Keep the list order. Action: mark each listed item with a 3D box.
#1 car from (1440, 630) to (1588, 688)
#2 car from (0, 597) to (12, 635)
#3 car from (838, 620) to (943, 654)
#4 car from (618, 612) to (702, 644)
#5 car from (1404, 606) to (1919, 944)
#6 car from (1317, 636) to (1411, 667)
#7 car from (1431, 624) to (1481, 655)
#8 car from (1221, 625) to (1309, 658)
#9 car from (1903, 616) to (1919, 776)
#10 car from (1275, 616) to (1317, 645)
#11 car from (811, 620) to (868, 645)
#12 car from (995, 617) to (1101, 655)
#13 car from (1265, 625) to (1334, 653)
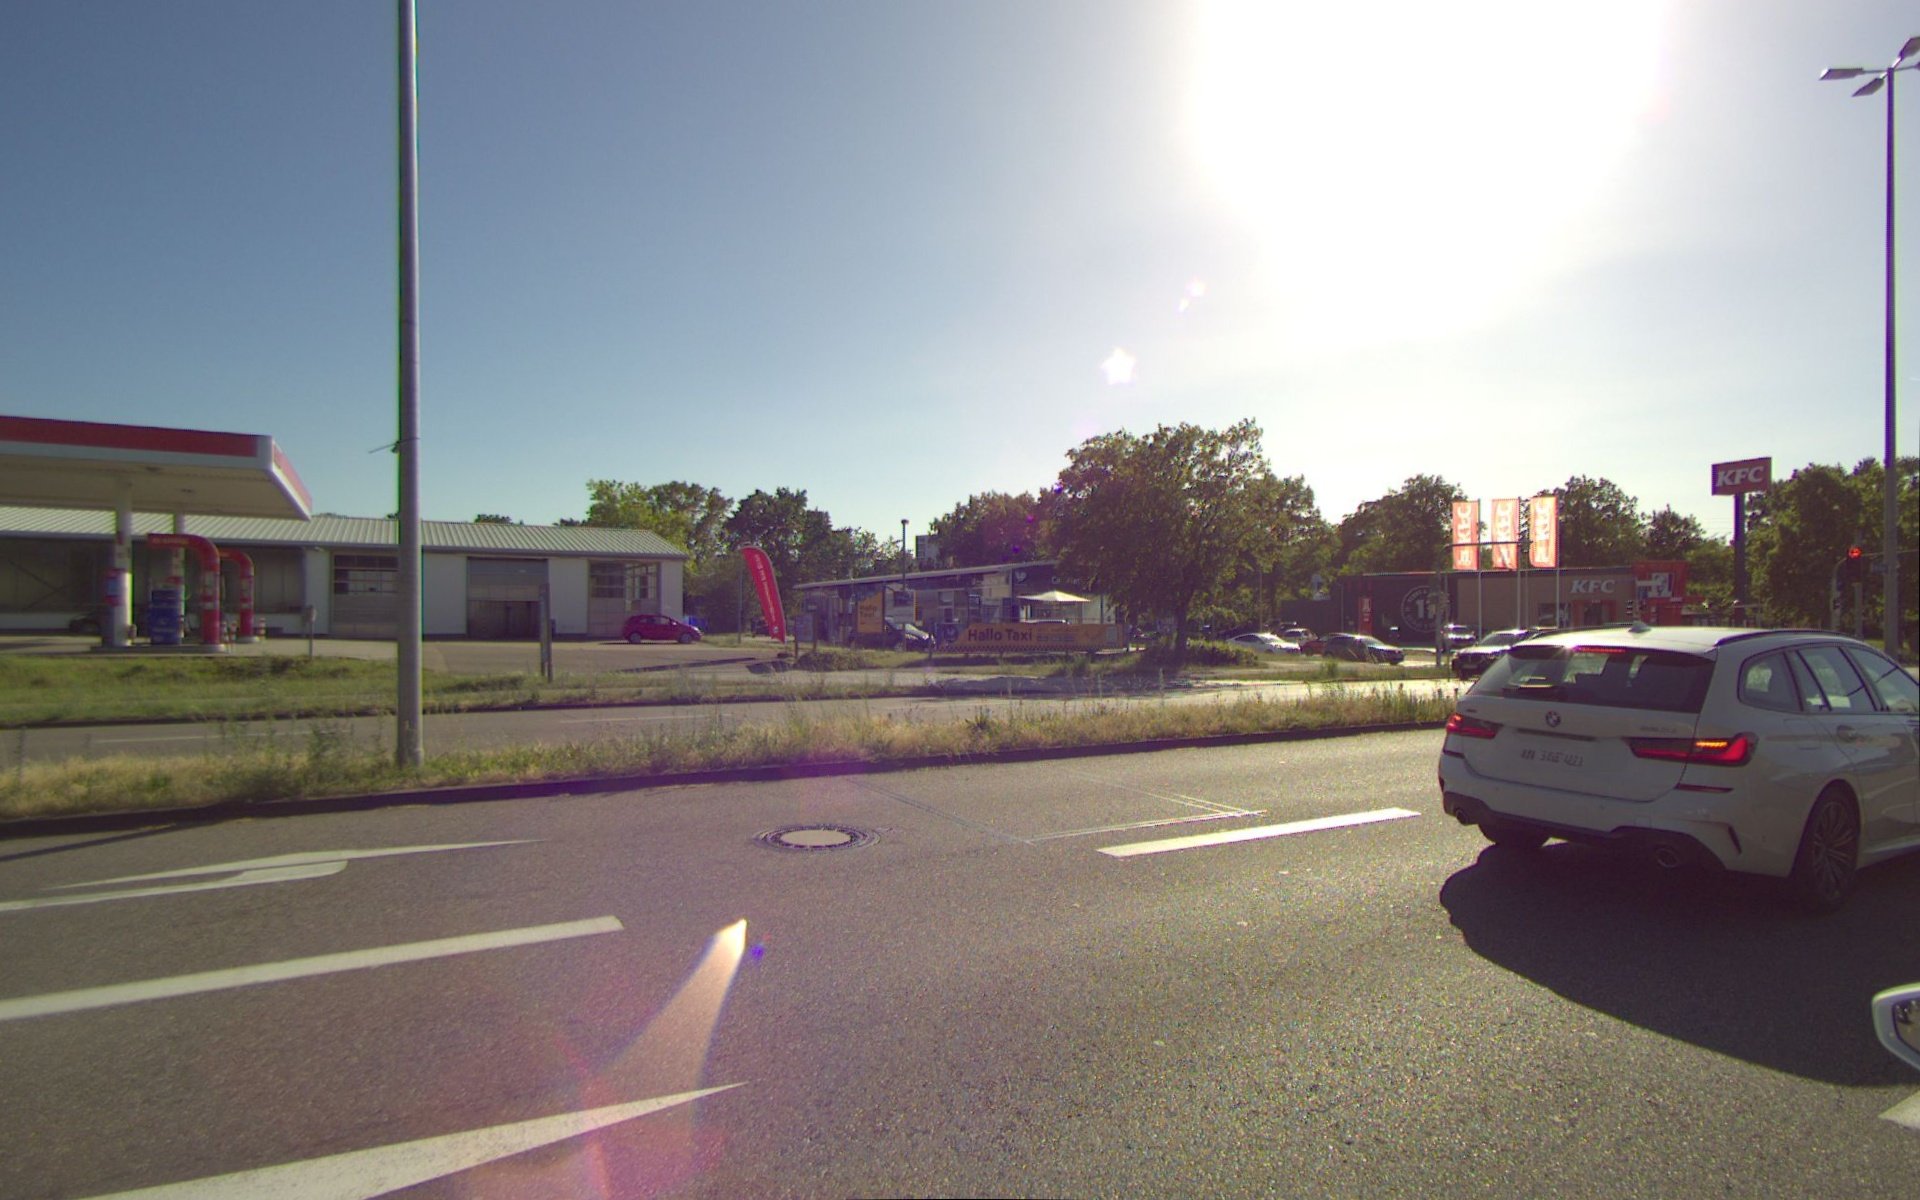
[{"bbox_3d":[17.938,1.882,32.558,4.254,1.749,1.801,1,0,-18],"label":"car"},{"bbox_3d":[-40.420,0.606,39.766,3.812,1.509,1.984,2,0,-30],"label":"car"},{"bbox_3d":[-2.826,1.466,40.699,3.930,1.193,1.774,2,0,31],"label":"car"},{"bbox_3d":[-15.253,1.424,51.115,3.949,1.491,1.521,2,0,-24],"label":"car"},{"bbox_3d":[5.130,0.841,6.478,4.541,1.506,1.804,1,0,-30],"label":"car"},{"bbox_3d":[20.039,2.536,49.948,1.850,1.268,4.062,2,0,-31],"label":"car"},{"bbox_3d":[31.093,2.463,63.090,1.896,1.763,4.099,2,0,14],"label":"car"},{"bbox_3d":[16.982,2.286,56.171,1.914,1.600,4.599,2,0,-31],"label":"car"},{"bbox_3d":[11.778,0.995,10.381,4.491,1.572,1.803,1,0,-31],"label":"car"},{"bbox_3d":[23.193,2.093,69.208,1.965,1.837,3.764,2,0,31],"label":"car"},{"bbox_3d":[-6.940,1.851,57.576,1.736,1.268,4.020,2,0,-31],"label":"car"},{"bbox_3d":[3.654,1.496,42.016,3.941,1.461,1.990,2,0,-21],"label":"car"},{"bbox_3d":[20.925,2.389,62.077,1.974,1.579,3.746,2,0,-27],"label":"car"}]
